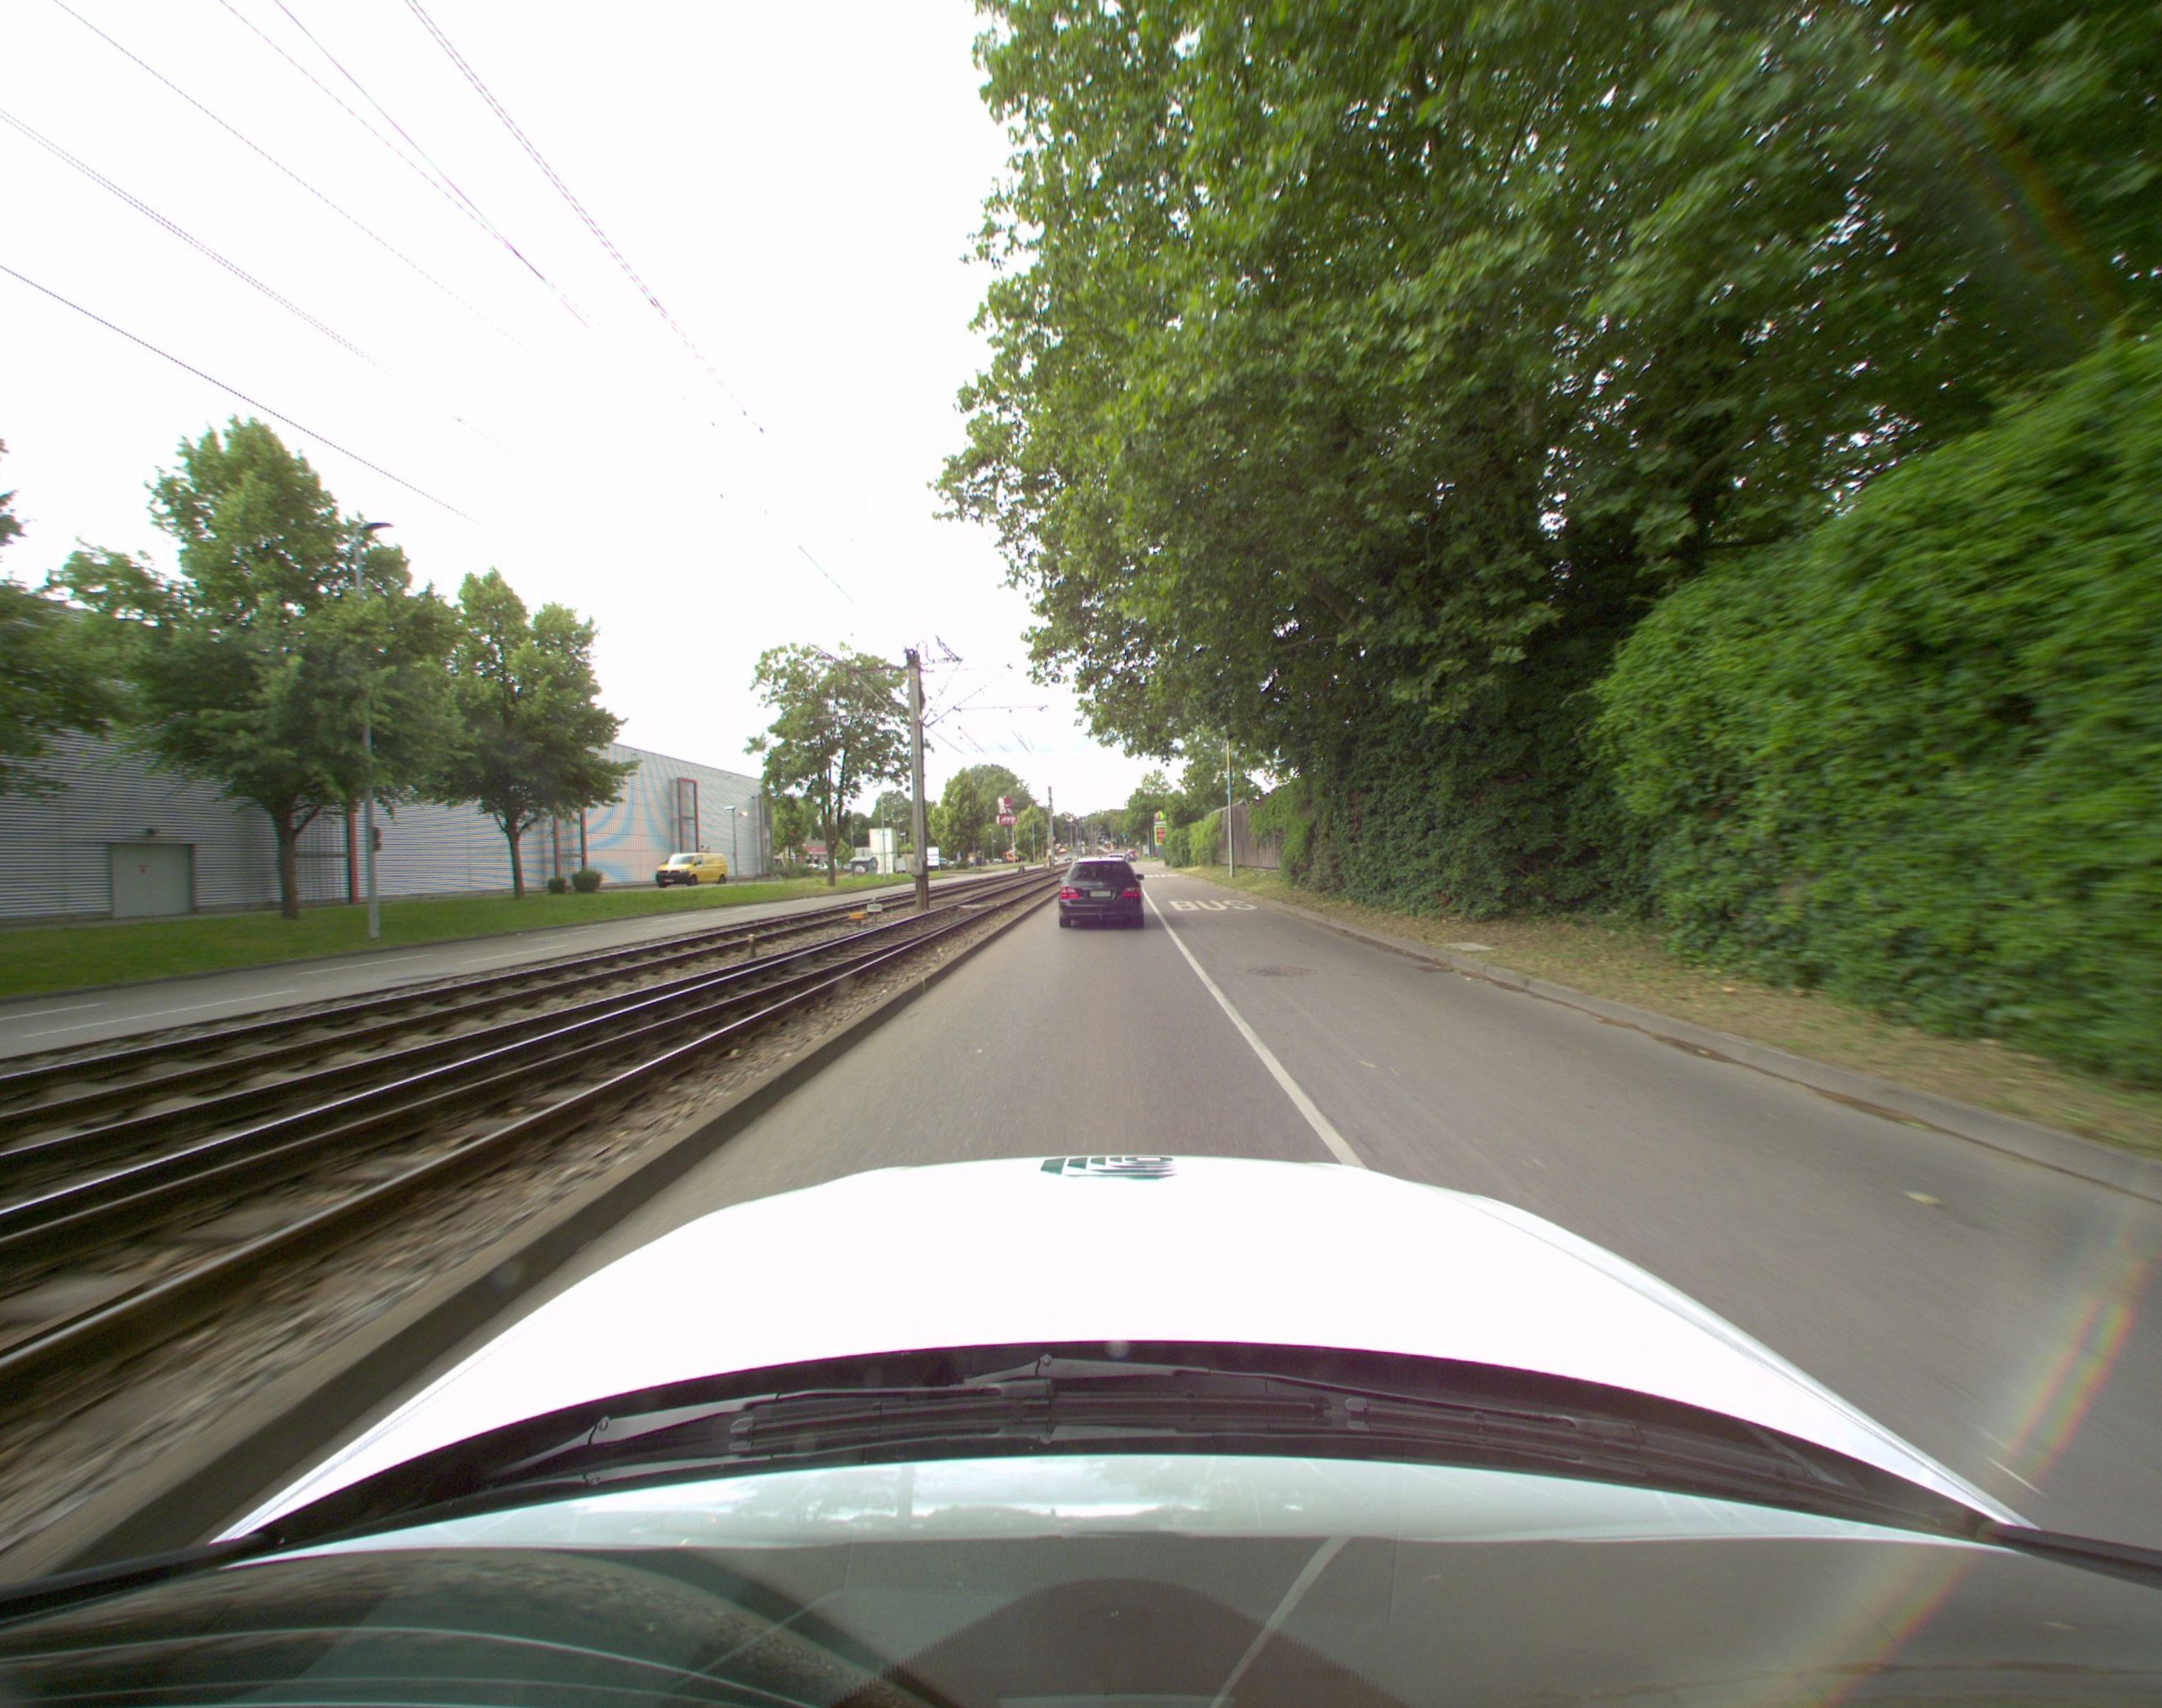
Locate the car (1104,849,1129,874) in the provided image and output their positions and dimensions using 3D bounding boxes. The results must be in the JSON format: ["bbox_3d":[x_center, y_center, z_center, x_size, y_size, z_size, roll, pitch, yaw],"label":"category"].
[{"bbox_3d":[2.583,0.525,59.125,1.773,1.750,3.720,0,-1,3],"label":"car"}]

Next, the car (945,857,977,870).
[{"bbox_3d":[-17.573,1.338,119.391,4.206,1.727,1.996,-3,0,0],"label":"car"}]

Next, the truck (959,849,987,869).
[{"bbox_3d":[-17.039,0.797,128.445,3.974,2.821,2.376,-3,0,0],"label":"truck"}]

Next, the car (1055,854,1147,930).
[{"bbox_3d":[0.481,0.755,18.049,1.801,1.474,3.883,-1,0,3],"label":"car"}]

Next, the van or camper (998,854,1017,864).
[{"bbox_3d":[-16.042,1.092,177.546,3.977,2.135,1.876,-1,0,-2],"label":"van or camper"}]

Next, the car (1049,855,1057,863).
[{"bbox_3d":[-6.888,1.211,199.300,1.786,1.772,4.000,-2,0,1],"label":"car"}]

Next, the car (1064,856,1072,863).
[{"bbox_3d":[-3.178,1.346,200.776,1.752,1.401,4.445,-5,0,2],"label":"car"}]

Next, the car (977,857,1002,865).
[{"bbox_3d":[-16.933,1.306,151.058,4.292,1.472,1.680,-2,0,0],"label":"car"}]

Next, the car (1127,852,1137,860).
[{"bbox_3d":[8.434,0.331,135.536,1.564,1.414,3.356,0,-1,3],"label":"car"}]

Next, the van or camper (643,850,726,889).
[{"bbox_3d":[-22.165,0.823,45.843,2.097,2.013,5.241,-2,0,-1],"label":"van or camper"}]
